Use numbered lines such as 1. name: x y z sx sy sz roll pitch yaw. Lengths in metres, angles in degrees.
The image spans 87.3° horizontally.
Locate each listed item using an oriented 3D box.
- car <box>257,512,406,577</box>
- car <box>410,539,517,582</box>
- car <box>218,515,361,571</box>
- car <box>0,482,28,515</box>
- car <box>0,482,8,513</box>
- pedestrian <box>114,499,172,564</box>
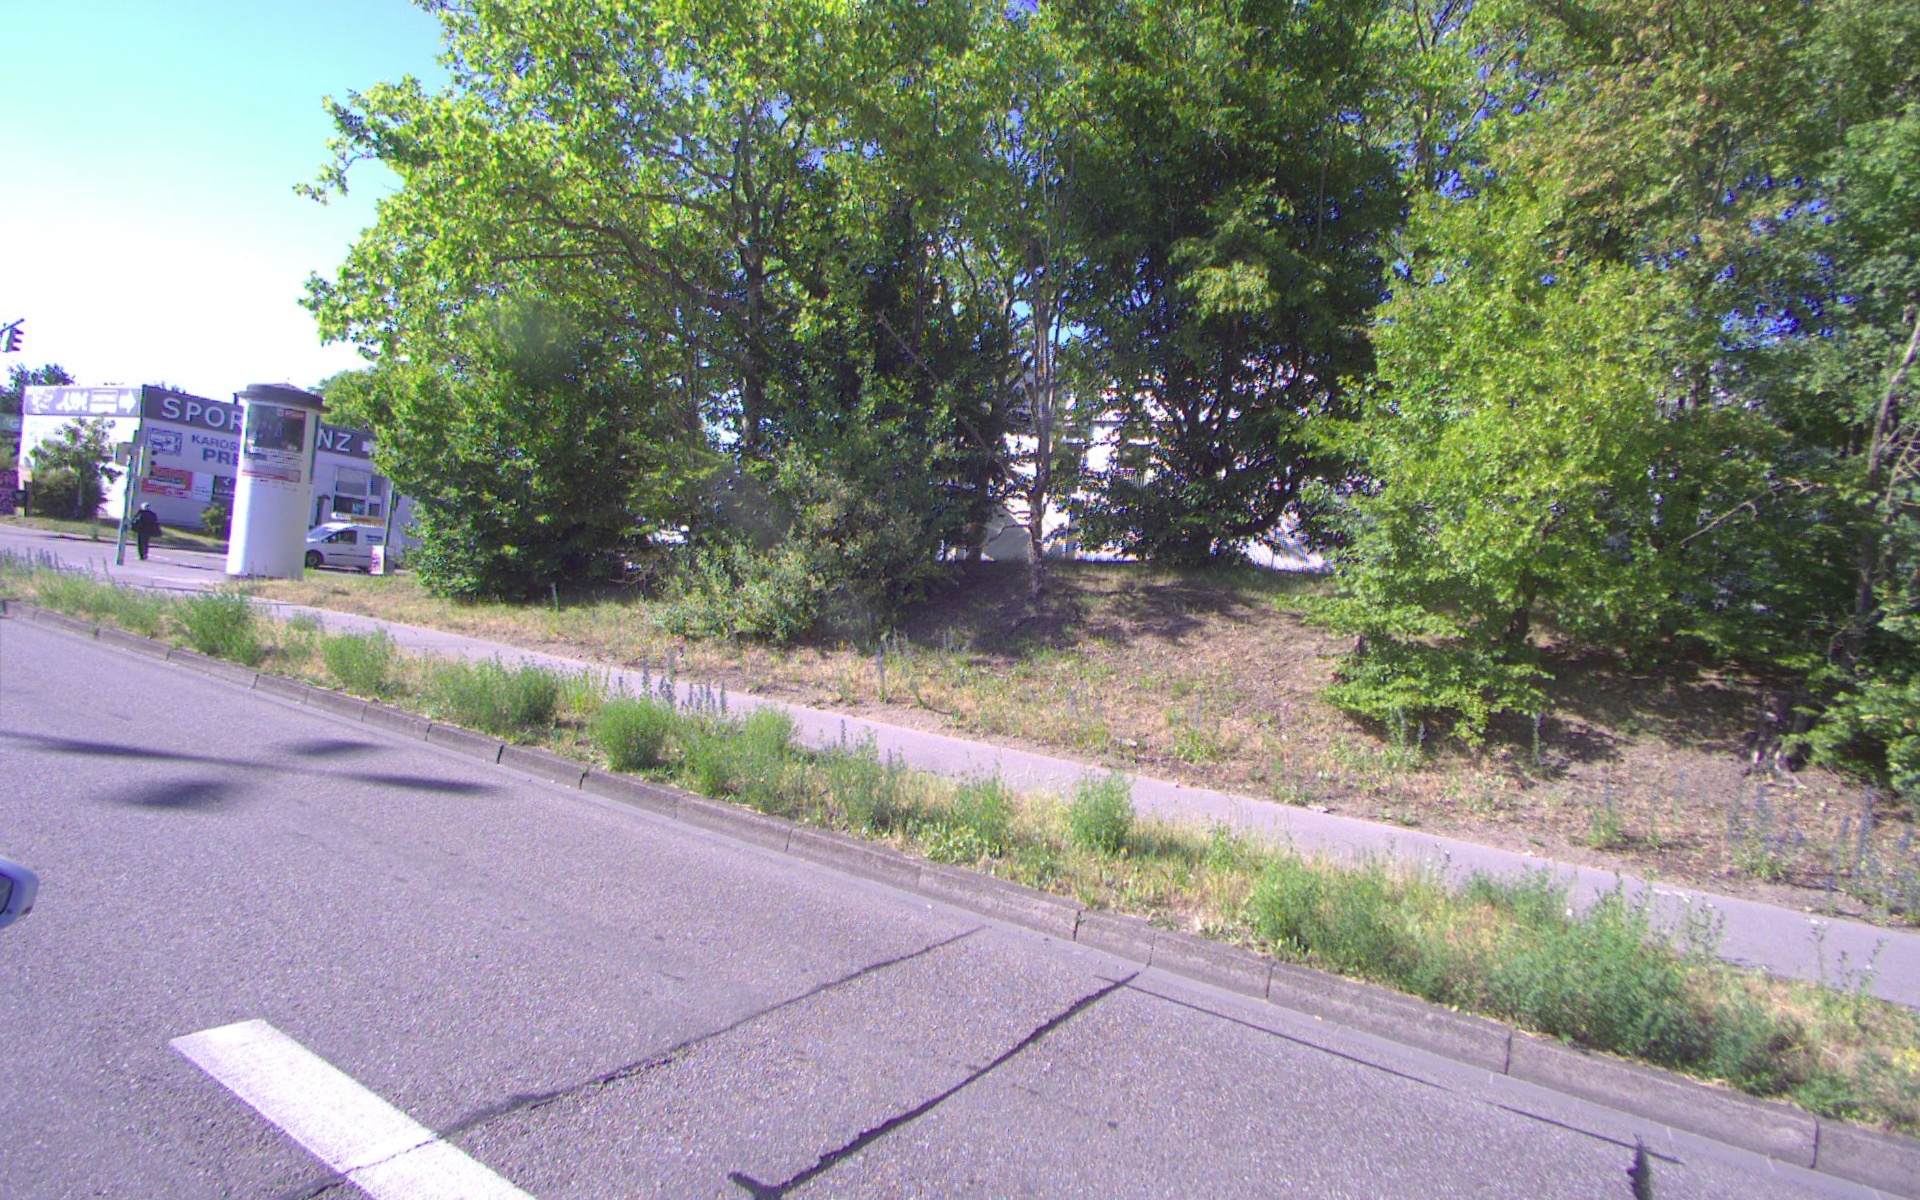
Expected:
1. car: -23.775 -2.058 38.227 1.735 1.824 4.387 8 1 30
2. car: -22.850 -1.783 46.427 1.753 1.509 4.045 6 1 30
3. car: -26.552 -2.223 39.975 1.735 1.568 4.292 8 1 30
4. car: -46.728 -4.993 46.880 1.828 1.472 4.490 6 1 33
5. car: -49.267 -5.253 48.532 1.828 1.472 4.490 6 1 33
6. pedestrian: -24.127 -2.025 29.716 0.923 1.755 0.927 6 -1 31
